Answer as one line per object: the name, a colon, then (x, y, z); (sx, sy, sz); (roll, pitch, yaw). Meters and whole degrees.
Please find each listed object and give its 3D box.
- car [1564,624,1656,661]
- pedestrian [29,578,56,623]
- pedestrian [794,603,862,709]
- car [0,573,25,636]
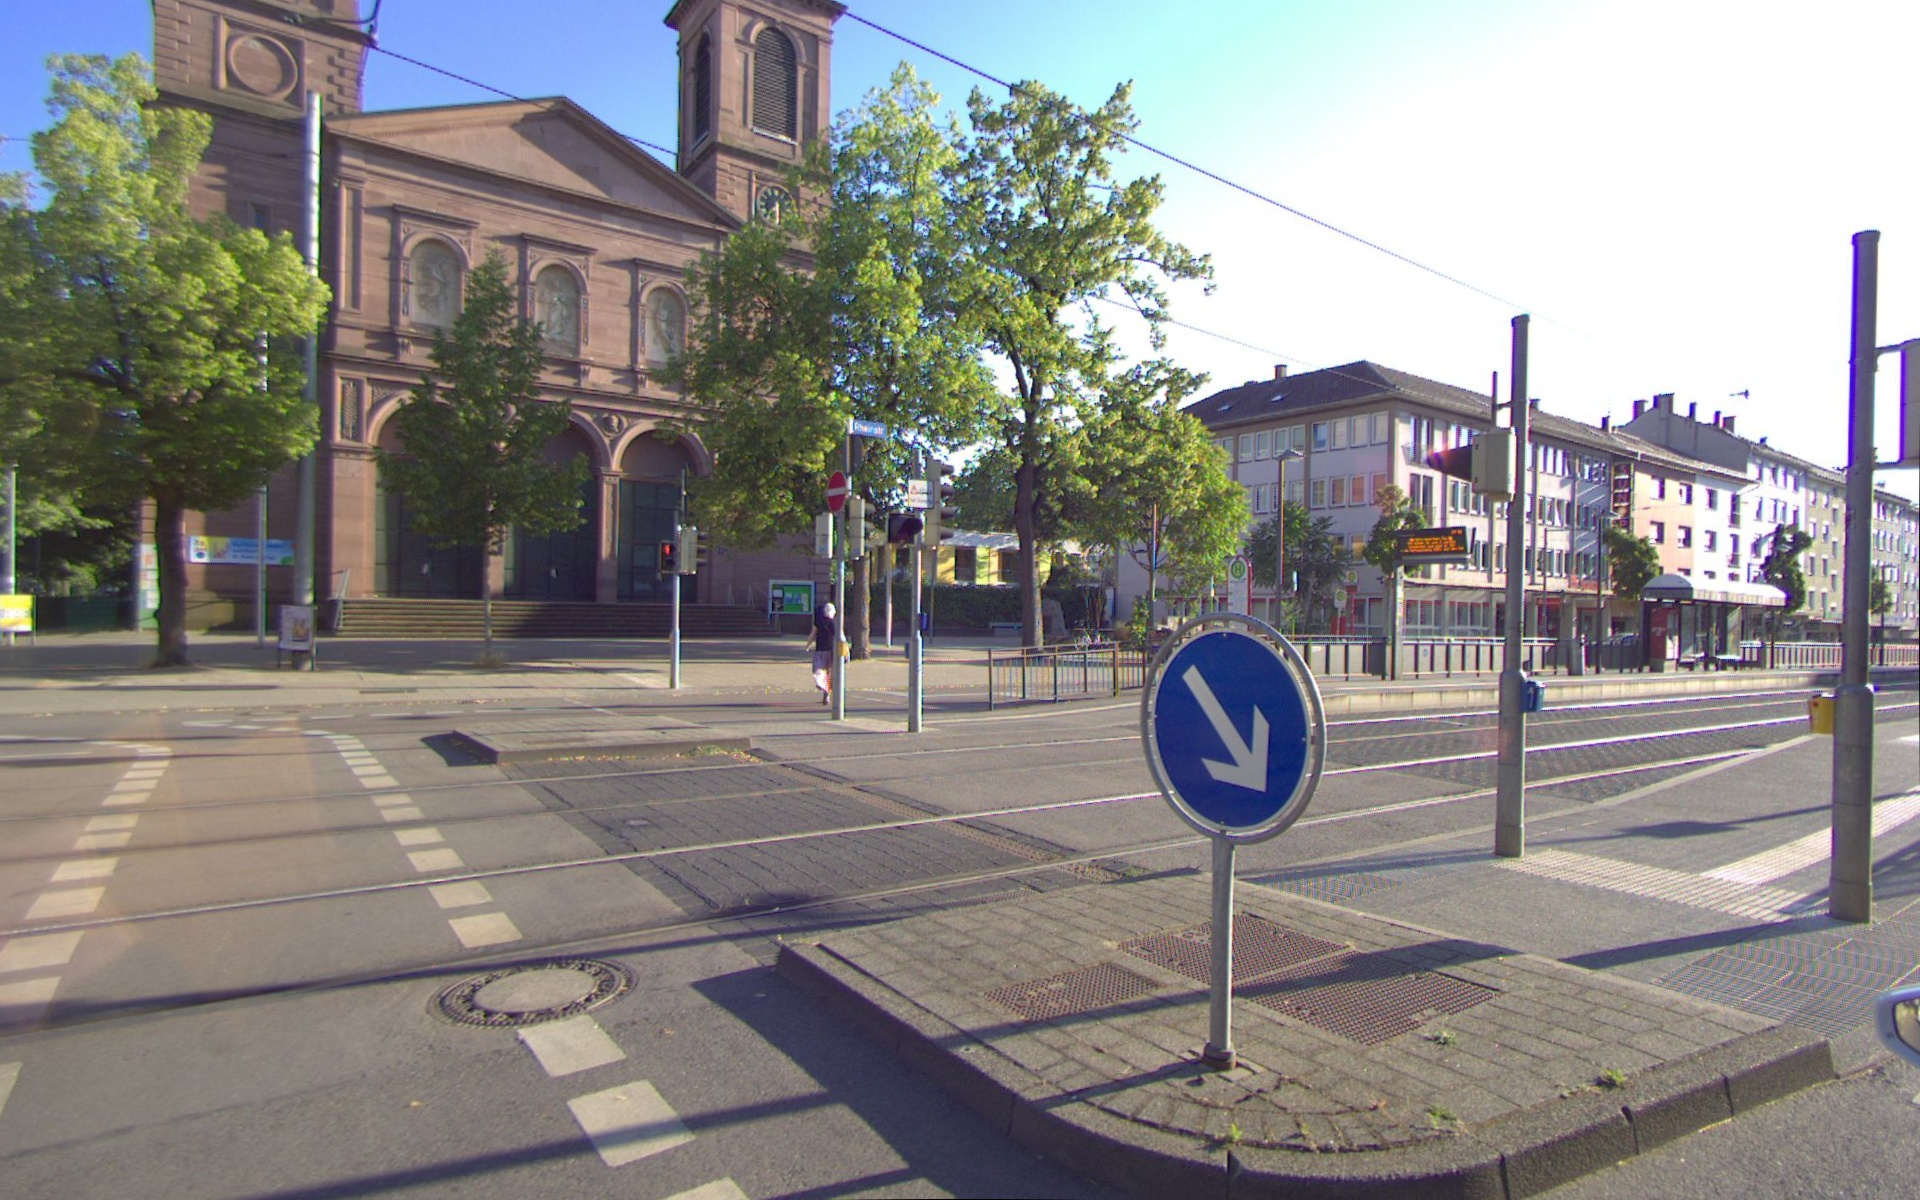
car: (32.529, 2.119, 50.330); (3.440, 1.702, 1.772); (1, 0, 3)
pedestrian: (-37.399, 0.013, 40.959); (0.685, 1.789, 0.732); (1, 0, -35)
pedestrian: (-2.299, 0.953, 17.418); (0.823, 1.783, 0.913); (2, -1, -33)
car: (-40.891, 0.124, 39.998); (5.062, 2.552, 1.981); (2, -1, -35)
